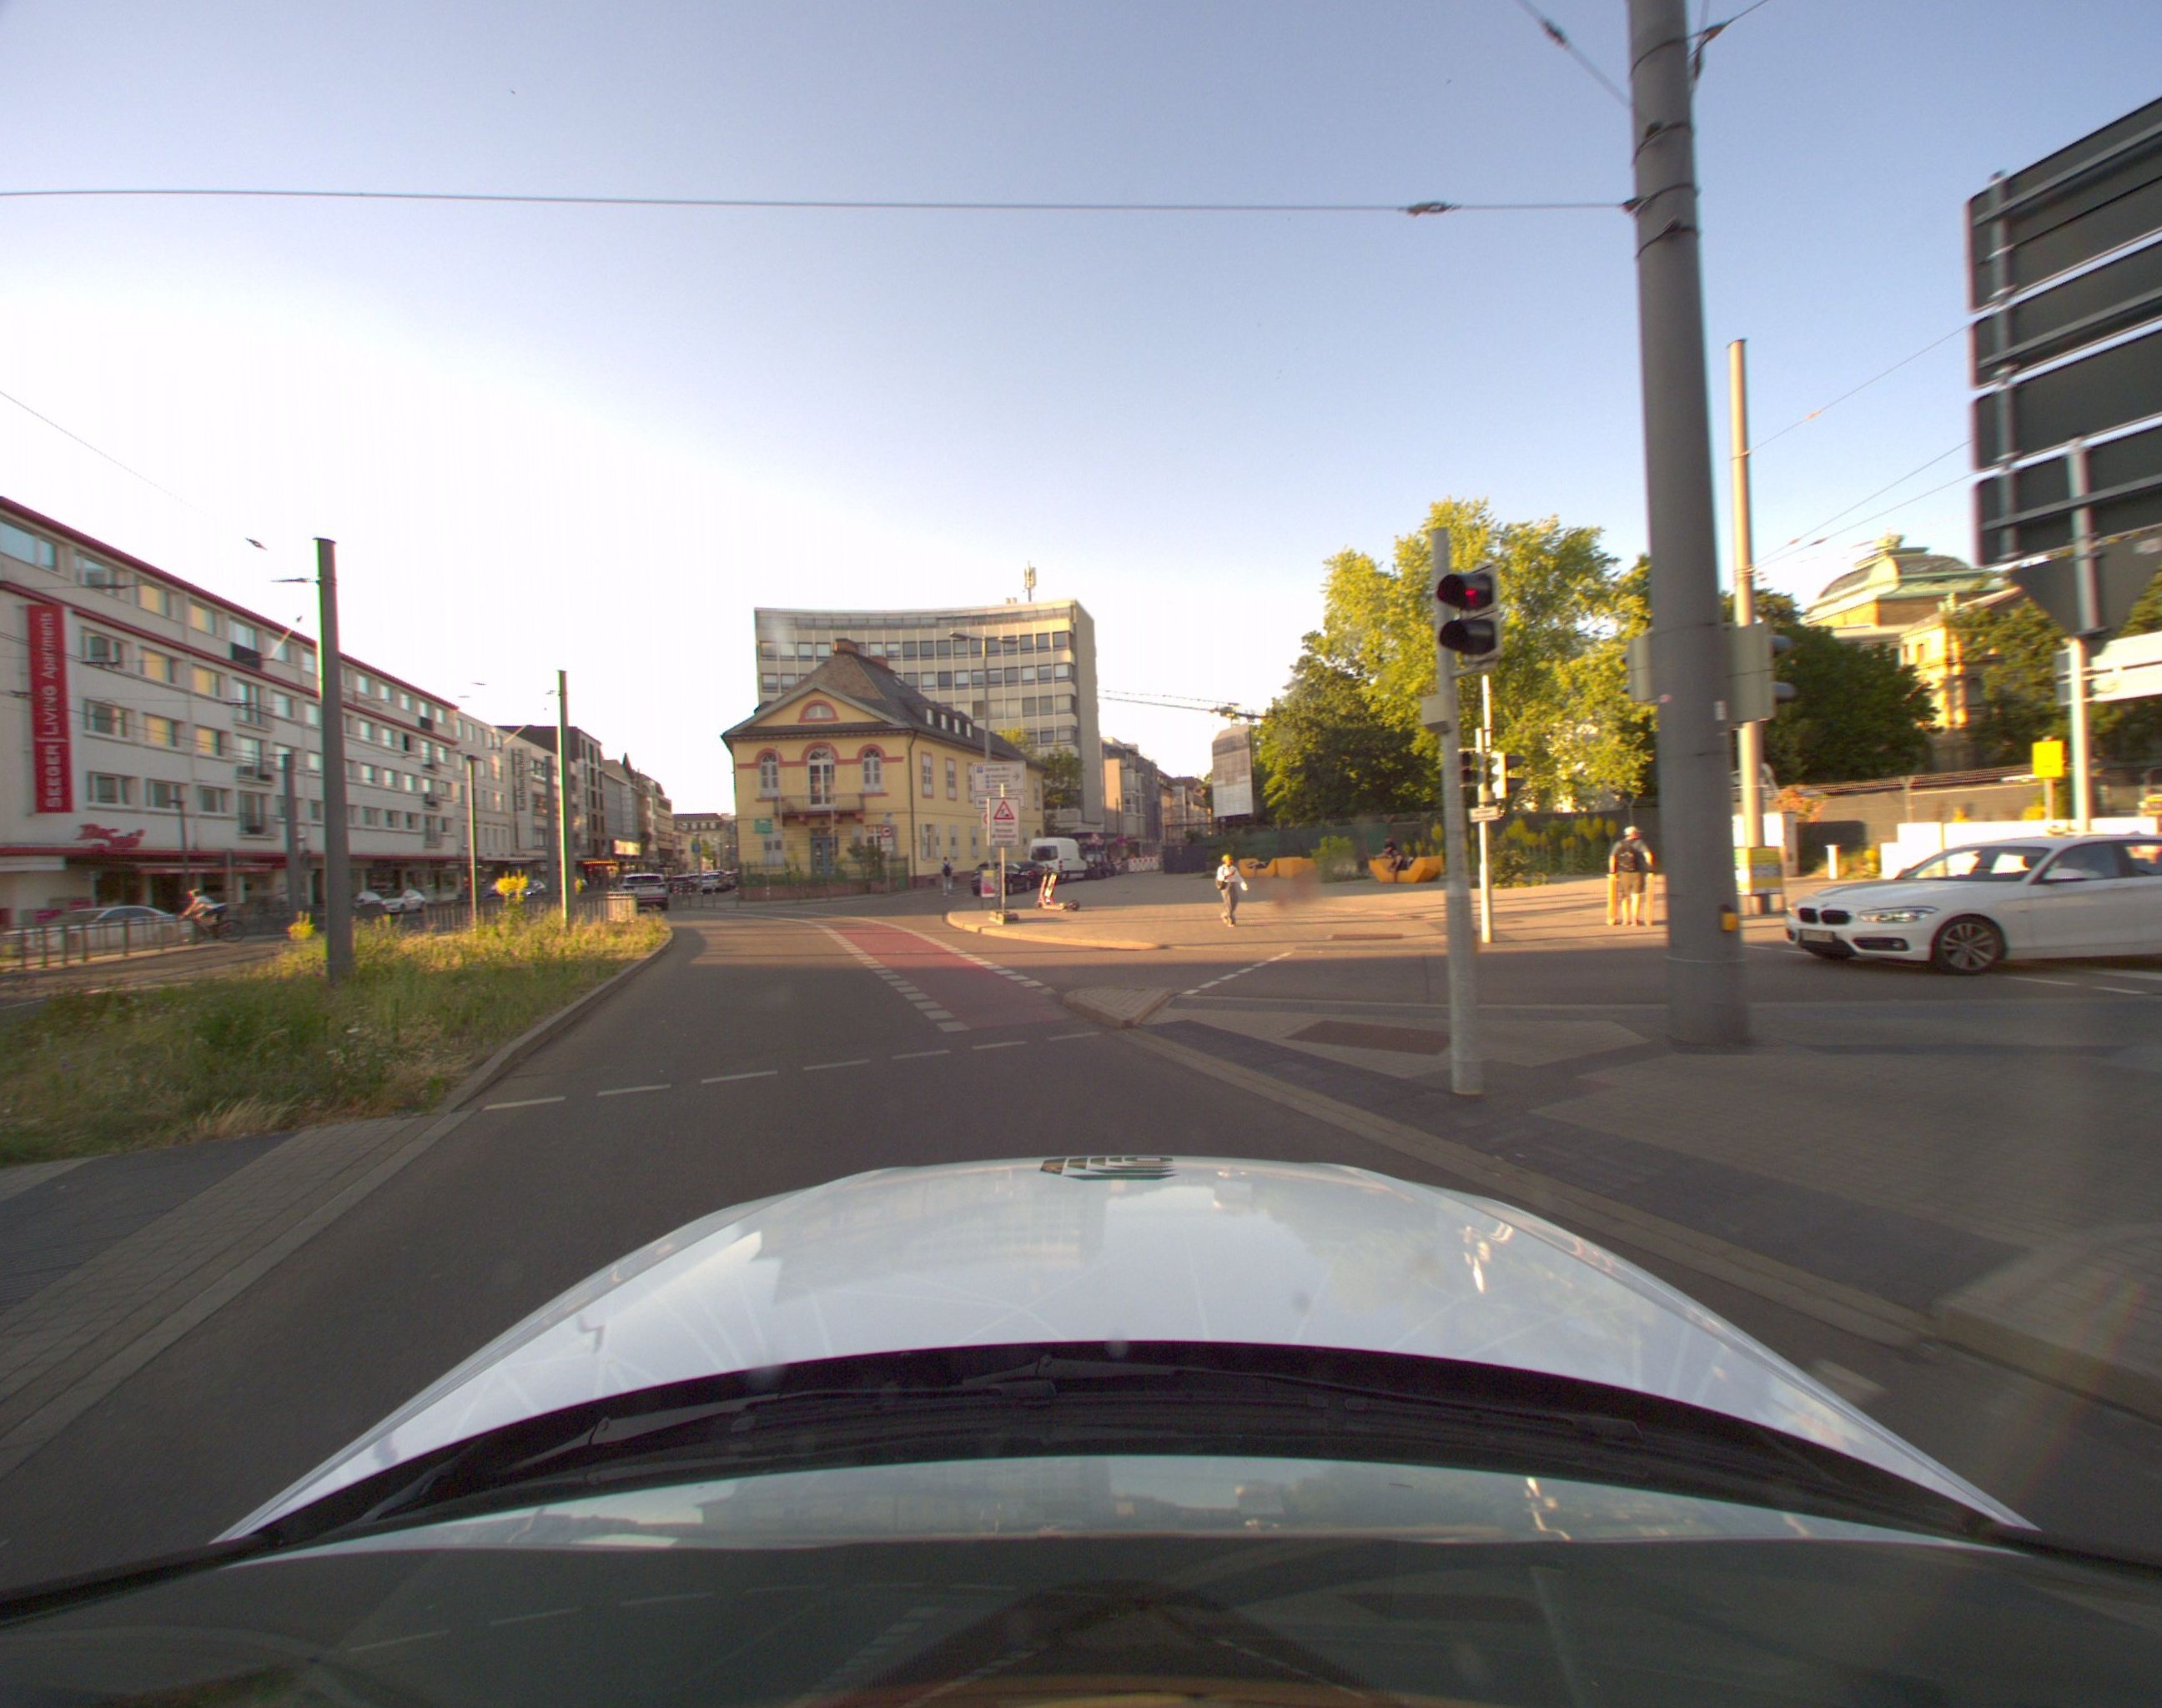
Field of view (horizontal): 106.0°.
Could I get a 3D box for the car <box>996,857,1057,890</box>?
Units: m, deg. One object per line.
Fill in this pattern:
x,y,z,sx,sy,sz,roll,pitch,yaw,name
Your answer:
-2.715,0.954,41.613,1.716,1.429,4.491,-2,0,14,car

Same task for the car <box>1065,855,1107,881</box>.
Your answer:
0.358,0.872,52.626,1.680,1.459,4.115,-2,0,15,car

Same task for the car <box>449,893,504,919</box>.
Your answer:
-45.283,3.872,61.091,1.998,1.665,3.977,-2,0,-17,car

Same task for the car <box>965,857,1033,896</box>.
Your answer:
-3.644,0.981,36.898,1.766,1.543,4.305,-2,0,12,car

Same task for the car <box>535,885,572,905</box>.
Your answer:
-52.572,4.067,81.190,1.998,1.665,3.977,-2,0,-17,car

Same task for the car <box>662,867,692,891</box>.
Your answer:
-34.284,2.085,69.237,1.815,1.808,3.971,-3,0,-21,car

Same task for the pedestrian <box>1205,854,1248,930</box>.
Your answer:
3.239,0.829,18.164,0.689,1.613,0.593,-3,0,-16,pedestrian

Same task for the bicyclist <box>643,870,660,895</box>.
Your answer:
-27.583,1.833,52.355,0.833,1.568,0.781,-2,0,-22,bicyclist

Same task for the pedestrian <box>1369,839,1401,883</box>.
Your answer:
11.903,0.277,31.872,0.822,1.665,0.759,-3,0,-18,pedestrian

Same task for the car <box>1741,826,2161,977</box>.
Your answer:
10.511,0.479,9.314,4.272,1.405,1.918,-3,-1,3,car

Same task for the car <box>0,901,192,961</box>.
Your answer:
-31.809,2.398,26.037,2.033,1.441,4.647,-3,0,-8,car

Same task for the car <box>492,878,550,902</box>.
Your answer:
-40.961,2.596,59.691,2.202,1.559,4.257,-2,0,-16,car

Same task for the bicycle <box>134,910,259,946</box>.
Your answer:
-26.550,2.207,24.522,2.435,0.846,0.837,-2,0,-39,bicycle

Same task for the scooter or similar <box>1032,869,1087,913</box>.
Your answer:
-0.658,1.140,25.129,1.508,1.260,0.615,-3,0,21,scooter or similar

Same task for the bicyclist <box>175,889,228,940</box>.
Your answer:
-26.522,1.800,24.567,0.935,1.441,0.825,-2,-1,-38,bicyclist

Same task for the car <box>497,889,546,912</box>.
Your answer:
-46.080,3.809,67.221,1.998,1.666,4.611,0,-2,-17,car

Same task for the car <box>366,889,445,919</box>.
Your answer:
-39.934,2.922,48.260,1.998,1.464,4.376,-3,0,-17,car

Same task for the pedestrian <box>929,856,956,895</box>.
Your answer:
-6.320,0.969,37.175,0.869,1.724,0.833,-2,0,18,pedestrian

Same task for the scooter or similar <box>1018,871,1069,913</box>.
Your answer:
-1.124,1.130,24.133,1.388,1.166,0.464,-3,0,21,scooter or similar

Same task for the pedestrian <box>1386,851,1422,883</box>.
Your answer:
12.334,0.499,31.127,0.990,1.157,0.730,-2,0,-19,pedestrian

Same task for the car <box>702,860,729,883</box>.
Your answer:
-29.286,1.361,65.257,1.739,1.708,3.777,-2,0,-22,car

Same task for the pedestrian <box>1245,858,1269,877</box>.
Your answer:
8.553,0.651,39.582,0.565,0.893,0.970,-2,0,-40,pedestrian

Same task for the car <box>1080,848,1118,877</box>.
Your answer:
1.321,0.581,57.154,1.700,1.848,4.038,-2,0,15,car

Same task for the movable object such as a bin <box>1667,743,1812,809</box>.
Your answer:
25.484,-2.934,31.810,1.983,2.013,5.034,-3,0,7,movable object such as a bin

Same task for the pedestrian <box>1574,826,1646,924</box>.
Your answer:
9.738,0.376,15.033,0.932,1.735,0.826,-3,0,24,pedestrian

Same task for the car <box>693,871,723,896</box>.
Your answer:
-27.505,2.150,60.124,1.739,1.708,3.413,-3,-1,-22,car

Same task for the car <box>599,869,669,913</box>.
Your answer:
-19.287,1.542,35.053,1.959,1.661,4.484,-3,0,-37,car

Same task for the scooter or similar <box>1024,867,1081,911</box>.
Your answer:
-0.869,1.060,24.580,1.633,1.292,0.464,-2,0,21,scooter or similar

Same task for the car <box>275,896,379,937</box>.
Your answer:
-39.041,3.187,42.338,1.998,1.665,4.812,-2,0,-17,car

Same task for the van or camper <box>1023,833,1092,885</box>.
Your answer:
-1.236,0.260,47.313,2.061,2.774,6.477,-2,0,16,van or camper
